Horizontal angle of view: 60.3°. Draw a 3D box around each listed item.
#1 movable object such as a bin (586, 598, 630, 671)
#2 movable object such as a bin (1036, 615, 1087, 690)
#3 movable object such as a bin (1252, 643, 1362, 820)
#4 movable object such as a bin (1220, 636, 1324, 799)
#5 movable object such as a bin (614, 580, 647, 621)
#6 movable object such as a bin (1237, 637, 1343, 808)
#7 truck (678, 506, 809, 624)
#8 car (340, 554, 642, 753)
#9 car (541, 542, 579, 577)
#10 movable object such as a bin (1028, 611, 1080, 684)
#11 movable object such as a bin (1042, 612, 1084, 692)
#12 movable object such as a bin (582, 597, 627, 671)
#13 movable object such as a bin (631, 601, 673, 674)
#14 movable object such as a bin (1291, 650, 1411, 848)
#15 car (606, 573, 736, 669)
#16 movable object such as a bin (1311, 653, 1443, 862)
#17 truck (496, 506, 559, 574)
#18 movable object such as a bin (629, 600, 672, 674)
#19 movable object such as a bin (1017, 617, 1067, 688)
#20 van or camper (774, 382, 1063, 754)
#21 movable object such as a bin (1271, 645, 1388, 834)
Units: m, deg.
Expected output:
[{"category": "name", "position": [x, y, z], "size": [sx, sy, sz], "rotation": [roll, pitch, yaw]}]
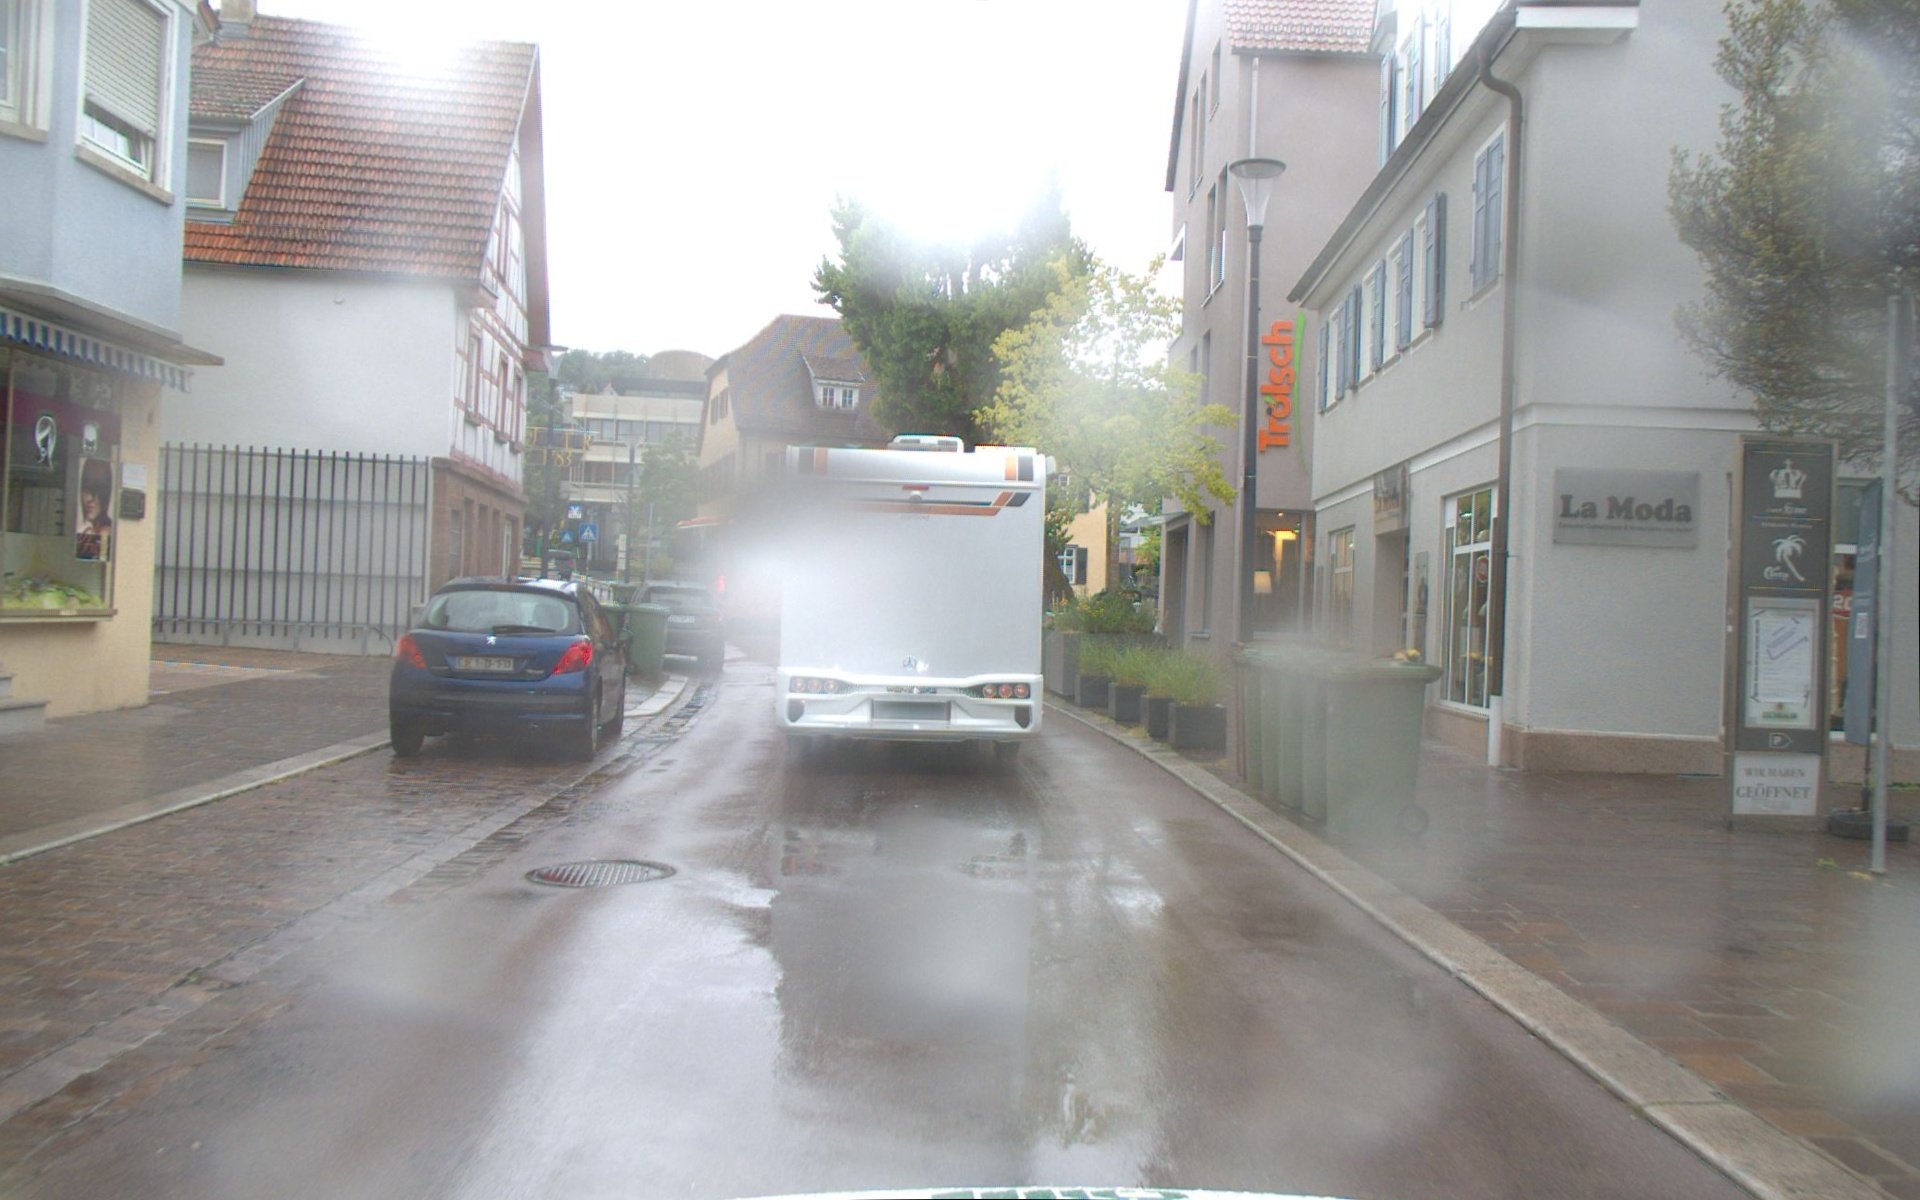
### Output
[{"category": "movable object such as a bin", "position": [-5.662, 0.552, 26.604], "size": [0.618, 1.142, 0.732], "rotation": [2, -1, -9]}, {"category": "movable object such as a bin", "position": [1.549, 0.797, 25.321], "size": [0.679, 1.121, 0.561], "rotation": [2, -1, -4]}, {"category": "movable object such as a bin", "position": [2.557, 0.958, 12.225], "size": [0.664, 1.254, 0.564], "rotation": [2, -1, -2]}, {"category": "movable object such as a bin", "position": [2.526, 0.938, 13.454], "size": [0.664, 1.262, 0.731], "rotation": [2, -1, -2]}, {"category": "movable object such as a bin", "position": [-9.013, 0.017, 45.282], "size": [0.805, 1.069, 0.696], "rotation": [2, -1, -17]}, {"category": "movable object such as a bin", "position": [2.546, 0.932, 12.801], "size": [0.664, 1.272, 0.564], "rotation": [2, -1, -2]}, {"category": "truck", "position": [-6.082, -0.879, 45.774], "size": [2.424, 2.990, 6.165], "rotation": [2, -1, -18]}, {"category": "car", "position": [-4.091, 0.413, 15.116], "size": [1.955, 1.497, 3.995], "rotation": [3, 0, -6]}, {"category": "car", "position": [-25.806, -2.571, 106.635], "size": [1.963, 2.049, 3.978], "rotation": [2, -1, -19]}, {"category": "movable object such as a bin", "position": [1.472, 0.743, 25.954], "size": [0.714, 1.121, 0.561], "rotation": [2, -1, -4]}, {"category": "movable object such as a bin", "position": [1.537, 0.770, 24.715], "size": [0.533, 1.176, 0.576], "rotation": [2, -1, -4]}, {"category": "movable object such as a bin", "position": [-5.537, 0.523, 25.814], "size": [0.618, 1.070, 0.732], "rotation": [2, 3, -9]}, {"category": "movable object such as a bin", "position": [-4.965, 0.606, 26.692], "size": [0.618, 1.142, 0.732], "rotation": [2, -1, -9]}, {"category": "movable object such as a bin", "position": [2.619, 0.983, 11.107], "size": [0.645, 1.267, 0.542], "rotation": [2, -1, -2]}, {"category": "car", "position": [-5.350, 0.331, 30.216], "size": [1.960, 1.520, 3.985], "rotation": [3, 0, -15]}, {"category": "movable object such as a bin", "position": [2.643, 0.984, 10.521], "size": [0.645, 1.260, 0.621], "rotation": [2, -1, -2]}, {"category": "truck", "position": [-19.969, -2.701, 76.227], "size": [2.246, 2.806, 5.536], "rotation": [2, -1, -20]}, {"category": "movable object such as a bin", "position": [-4.842, 0.579, 25.925], "size": [0.618, 1.133, 0.732], "rotation": [2, -1, -9]}, {"category": "movable object such as a bin", "position": [1.316, 0.837, 26.552], "size": [0.714, 1.099, 0.576], "rotation": [2, -1, -4]}, {"category": "van or camper", "position": [-0.535, -0.216, 16.680], "size": [2.280, 2.970, 6.388], "rotation": [2, -1, -4]}, {"category": "movable object such as a bin", "position": [2.596, 0.966, 11.661], "size": [0.664, 1.278, 0.542], "rotation": [2, -1, -2]}]
